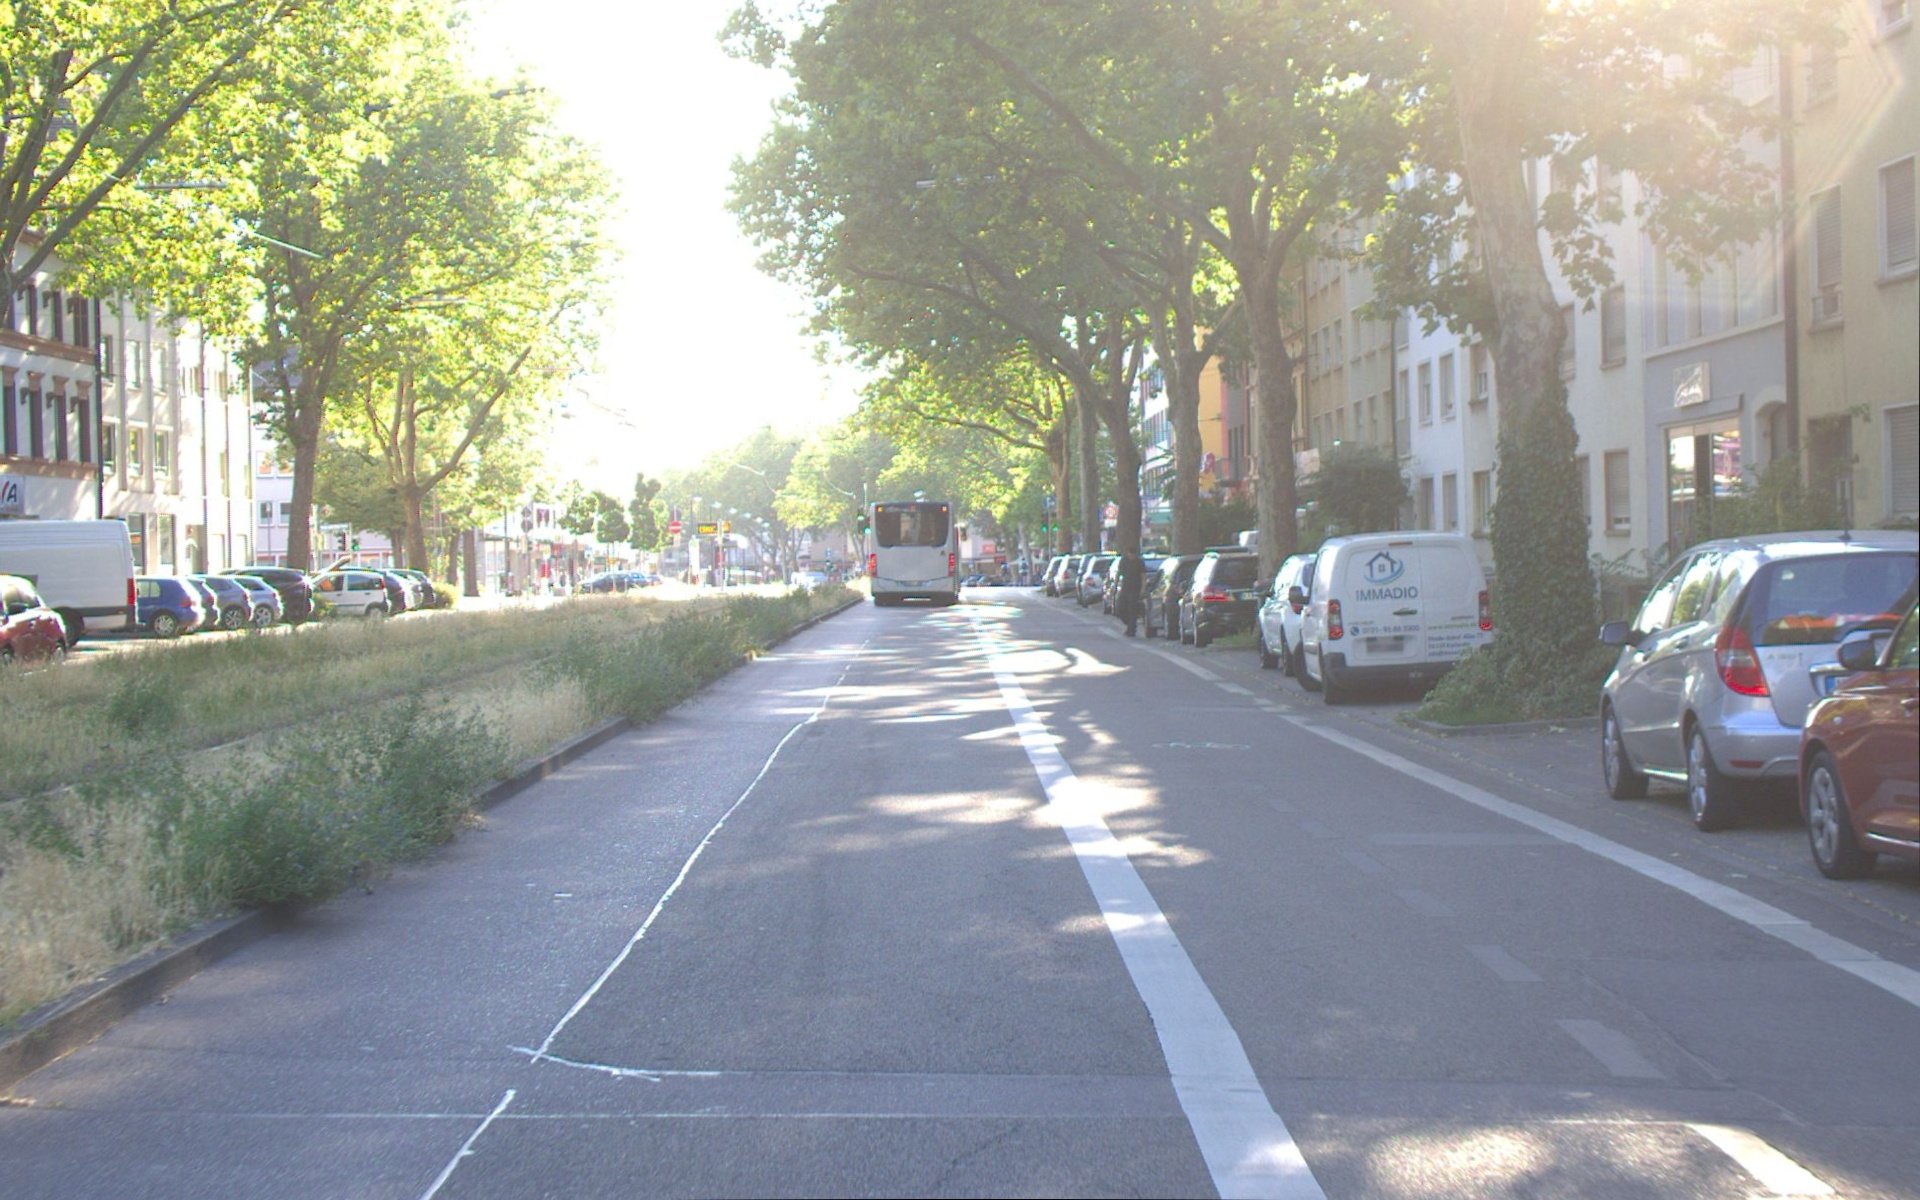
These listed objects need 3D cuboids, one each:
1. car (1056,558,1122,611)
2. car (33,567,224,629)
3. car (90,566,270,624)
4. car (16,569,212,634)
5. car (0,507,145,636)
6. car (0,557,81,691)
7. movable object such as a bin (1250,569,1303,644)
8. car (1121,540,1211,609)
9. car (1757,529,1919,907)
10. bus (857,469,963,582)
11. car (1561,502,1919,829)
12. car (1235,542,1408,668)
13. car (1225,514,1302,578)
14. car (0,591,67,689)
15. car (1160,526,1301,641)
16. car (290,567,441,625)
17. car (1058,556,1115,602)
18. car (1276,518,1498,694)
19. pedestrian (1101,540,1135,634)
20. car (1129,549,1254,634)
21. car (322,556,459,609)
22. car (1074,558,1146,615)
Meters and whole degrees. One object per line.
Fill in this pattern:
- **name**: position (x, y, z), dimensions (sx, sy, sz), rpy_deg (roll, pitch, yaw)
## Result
- **car**: position (3.920, -0.492, 105.091), dimensions (1.781, 1.510, 4.000), rpy_deg (-1, 1, -1)
- **car**: position (-20.440, -0.048, 84.517), dimensions (4.297, 1.453, 1.859), rpy_deg (-1, 0, -23)
- **car**: position (-20.750, -0.142, 91.557), dimensions (4.300, 1.453, 1.857), rpy_deg (-1, 0, -41)
- **car**: position (-20.122, 0.029, 81.915), dimensions (4.297, 1.453, 1.859), rpy_deg (-1, 0, -6)
- **car**: position (-20.818, -0.565, 72.166), dimensions (6.936, 2.669, 2.186), rpy_deg (-1, 0, -21)
- **car**: position (-12.140, 0.274, 41.937), dimensions (1.790, 1.568, 4.000), rpy_deg (-1, 1, 0)
- **movable object such as a bin**: position (4.629, 0.094, 50.331), dimensions (0.673, 1.042, 0.880), rpy_deg (-1, 2, -1)
- **car**: position (4.748, -0.614, 79.656), dimensions (1.781, 1.510, 4.000), rpy_deg (-1, 1, -1)
- **car**: position (4.924, 0.469, 14.664), dimensions (1.993, 1.555, 3.980), rpy_deg (-1, 0, -2)
- **bus**: position (-1.581, -2.214, 104.673), dimensions (2.833, 3.224, 8.183), rpy_deg (-1, 0, -3)
- **car**: position (4.751, 0.332, 19.874), dimensions (1.744, 1.684, 3.852), rpy_deg (-1, 0, -2)
- **car**: position (4.509, 0.031, 43.360), dimensions (1.645, 1.481, 4.000), rpy_deg (-1, 1, -1)
- **car**: position (9.189, -1.620, 104.302), dimensions (1.883, 1.853, 4.326), rpy_deg (-1, 0, -1)
- **car**: position (-15.151, 0.607, 51.346), dimensions (1.746, 1.455, 4.923), rpy_deg (-1, 0, 8)
- **car**: position (4.374, -0.258, 56.223), dimensions (1.744, 1.764, 4.989), rpy_deg (-1, 0, -2)
- **car**: position (-18.647, -0.122, 107.879), dimensions (4.300, 1.732, 1.857), rpy_deg (-1, 0, -41)
- **car**: position (4.386, -0.751, 119.534), dimensions (1.781, 1.510, 4.000), rpy_deg (-1, 1, -1)
- **car**: position (4.536, 0.058, 37.094), dimensions (1.744, 1.764, 4.394), rpy_deg (-1, 0, -1)
- **pedestrian**: position (3.014, -0.243, 65.666), dimensions (0.576, 1.773, 0.514), rpy_deg (-1, 1, -1)
- **car**: position (4.207, -0.154, 63.071), dimensions (1.685, 1.481, 4.001), rpy_deg (-1, 0, -5)
- **car**: position (-19.528, -0.606, 117.974), dimensions (4.300, 1.732, 1.857), rpy_deg (-1, 0, -41)
- **car**: position (4.199, -0.402, 96.839), dimensions (1.781, 1.510, 4.000), rpy_deg (-1, 1, -1)
